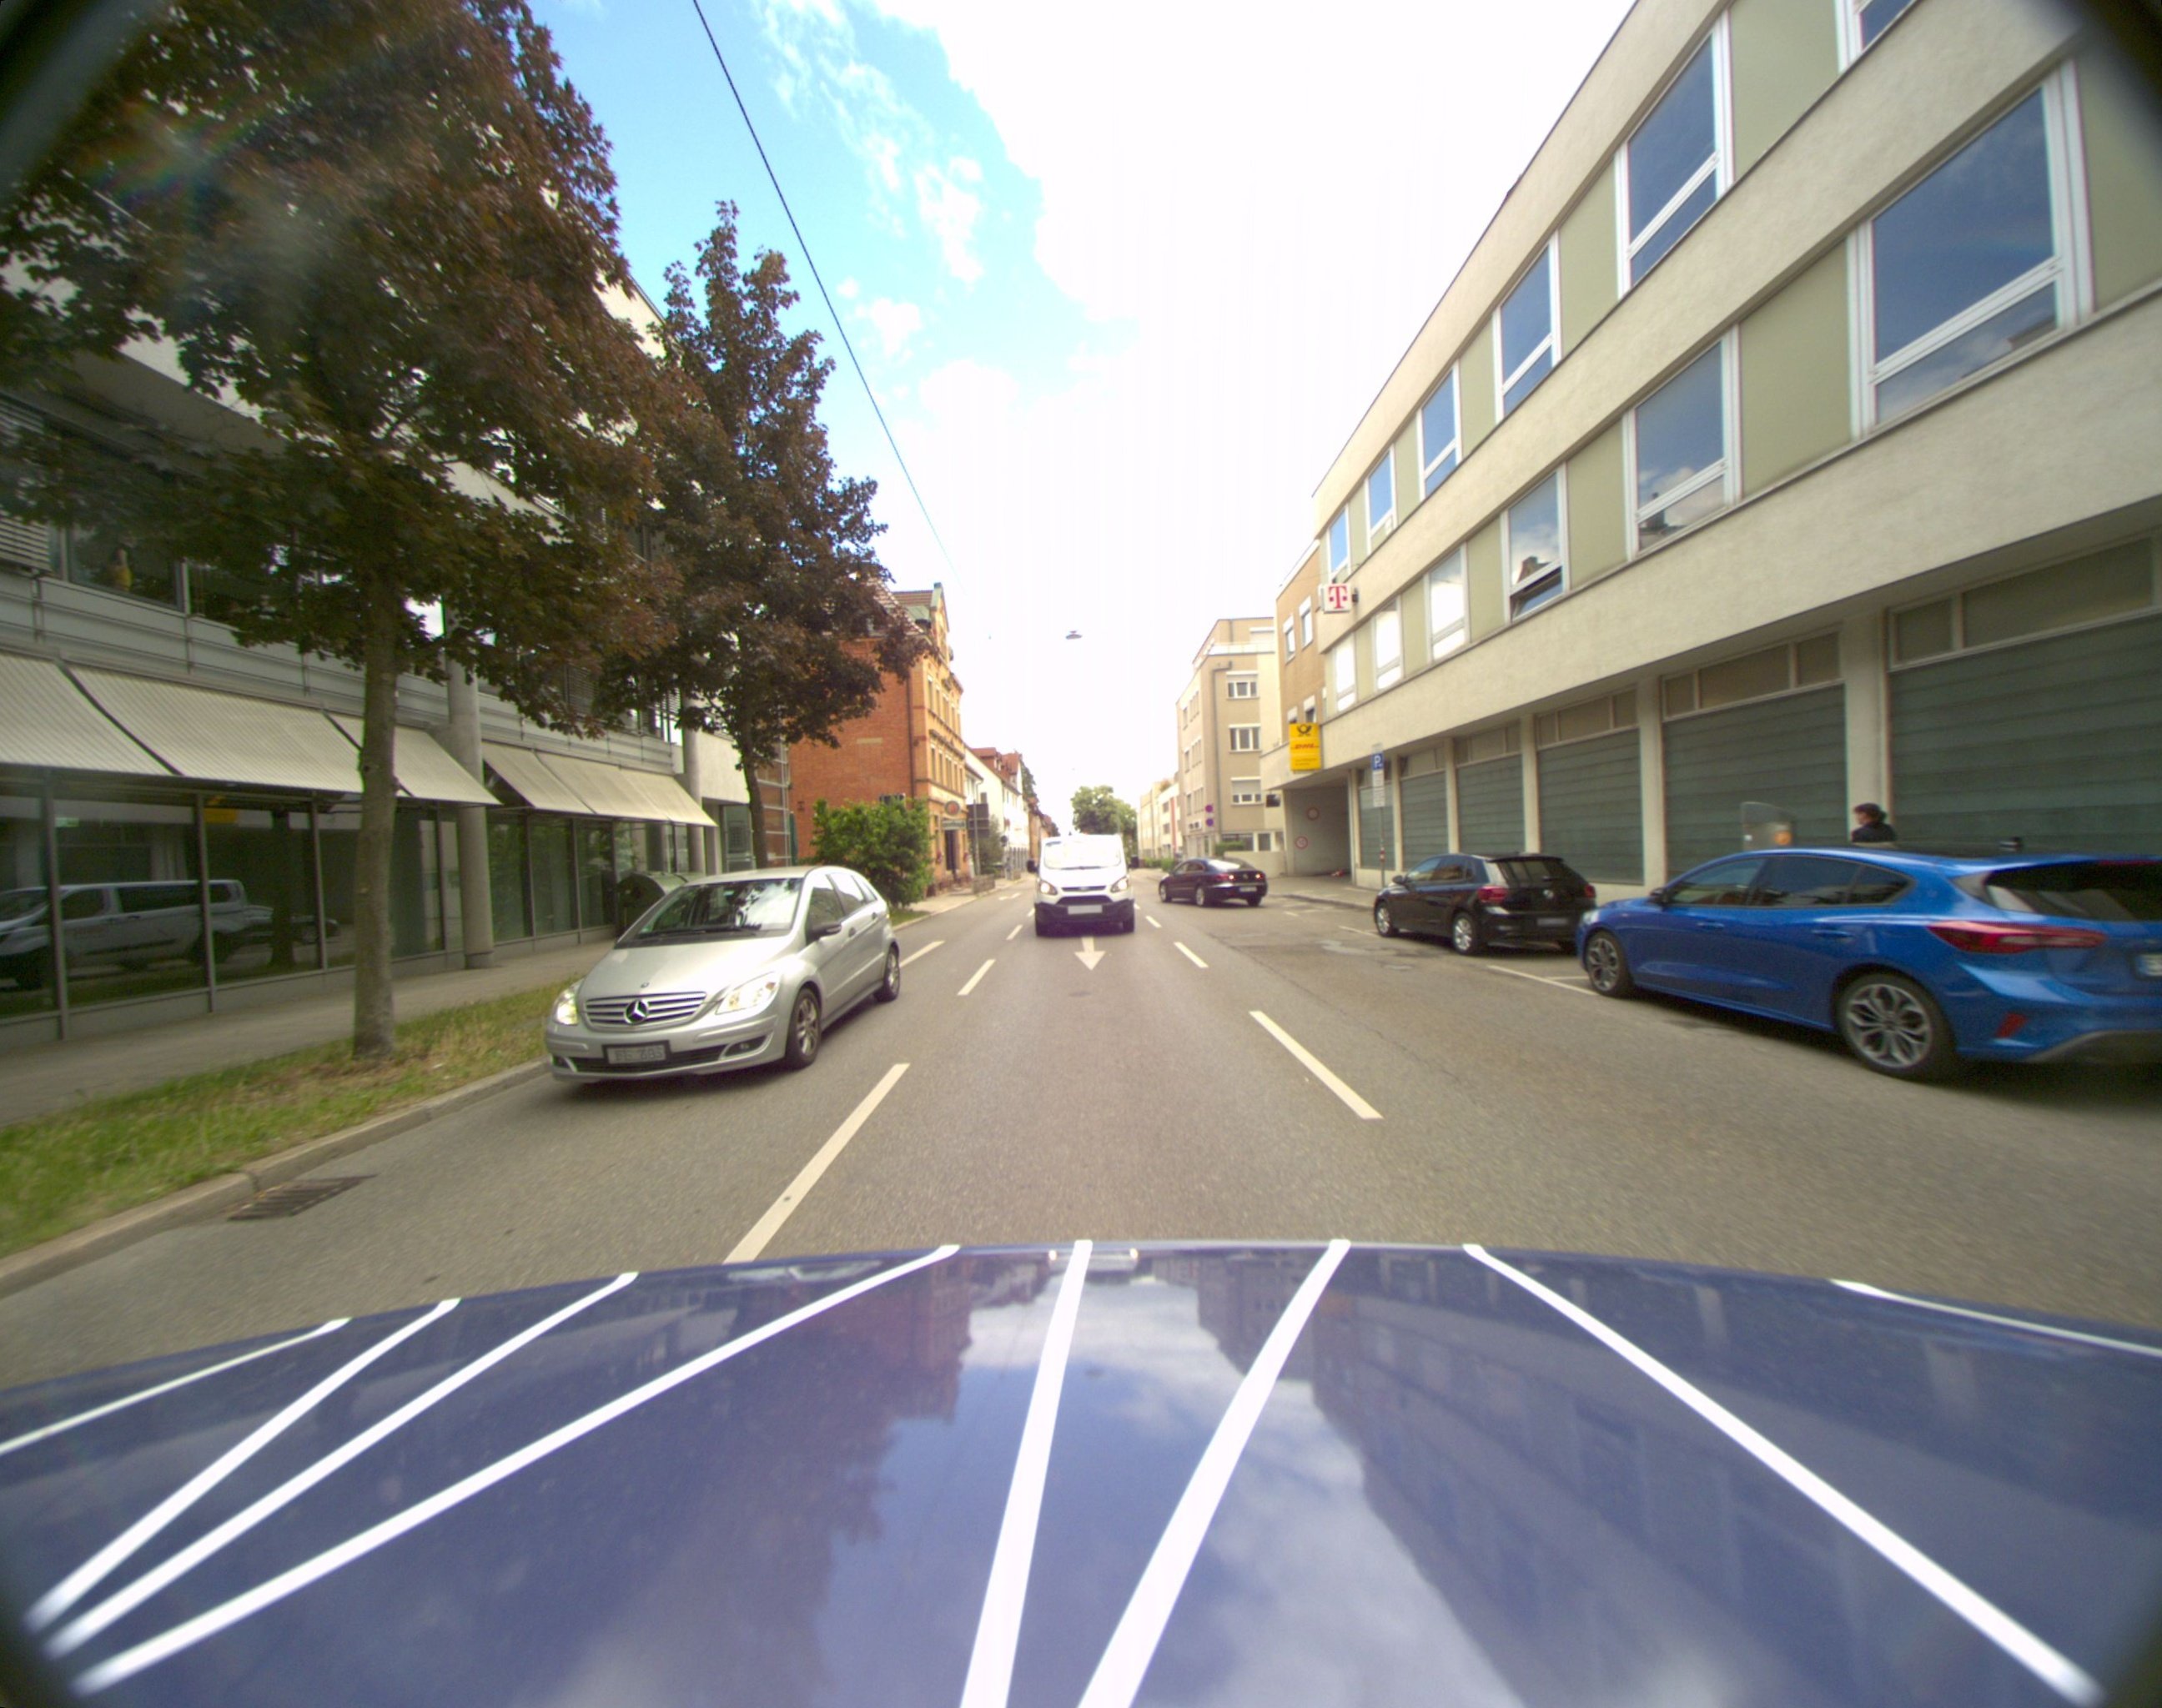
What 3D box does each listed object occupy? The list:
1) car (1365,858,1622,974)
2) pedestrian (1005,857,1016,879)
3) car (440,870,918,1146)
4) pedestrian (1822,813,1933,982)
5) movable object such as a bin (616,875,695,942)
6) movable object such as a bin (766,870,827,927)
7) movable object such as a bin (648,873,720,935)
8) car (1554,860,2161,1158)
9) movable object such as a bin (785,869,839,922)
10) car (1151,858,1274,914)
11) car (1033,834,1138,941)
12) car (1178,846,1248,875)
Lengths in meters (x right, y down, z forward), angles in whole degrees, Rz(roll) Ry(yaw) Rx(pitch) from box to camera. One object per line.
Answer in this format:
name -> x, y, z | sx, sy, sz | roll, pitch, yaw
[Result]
car -> 5.961, 0.799, 11.572 | 1.721, 1.417, 3.869 | -1, 0, -2
pedestrian -> -5.499, 1.102, 59.229 | 0.690, 1.721, 0.649 | -2, 1, -2
car -> -3.117, 1.058, 7.259 | 1.998, 1.537, 4.570 | -5, 0, 0
pedestrian -> 8.501, 0.440, 8.120 | 0.592, 1.708, 0.648 | -3, 1, -27
movable object such as a bin -> -10.016, 1.263, 17.953 | 1.101, 1.457, 1.332 | -1, 1, -1
movable object such as a bin -> -7.796, 1.196, 20.901 | 1.130, 1.457, 1.412 | -1, 1, -1
movable object such as a bin -> -10.057, 1.253, 19.313 | 1.125, 1.457, 1.332 | -1, 1, -1
car -> 5.804, 0.789, 5.869 | 1.819, 1.417, 4.265 | -1, 0, 3
movable object such as a bin -> -7.853, 1.191, 22.272 | 1.101, 1.457, 1.332 | -1, 1, -1
car -> 3.752, 0.867, 22.534 | 1.658, 1.390, 4.447 | -3, 1, -18
car -> 0.013, 0.645, 17.322 | 1.965, 1.986, 5.086 | -2, 0, -2
car -> 10.101, 0.459, 58.406 | 5.083, 1.986, 1.966 | -2, 0, 2
